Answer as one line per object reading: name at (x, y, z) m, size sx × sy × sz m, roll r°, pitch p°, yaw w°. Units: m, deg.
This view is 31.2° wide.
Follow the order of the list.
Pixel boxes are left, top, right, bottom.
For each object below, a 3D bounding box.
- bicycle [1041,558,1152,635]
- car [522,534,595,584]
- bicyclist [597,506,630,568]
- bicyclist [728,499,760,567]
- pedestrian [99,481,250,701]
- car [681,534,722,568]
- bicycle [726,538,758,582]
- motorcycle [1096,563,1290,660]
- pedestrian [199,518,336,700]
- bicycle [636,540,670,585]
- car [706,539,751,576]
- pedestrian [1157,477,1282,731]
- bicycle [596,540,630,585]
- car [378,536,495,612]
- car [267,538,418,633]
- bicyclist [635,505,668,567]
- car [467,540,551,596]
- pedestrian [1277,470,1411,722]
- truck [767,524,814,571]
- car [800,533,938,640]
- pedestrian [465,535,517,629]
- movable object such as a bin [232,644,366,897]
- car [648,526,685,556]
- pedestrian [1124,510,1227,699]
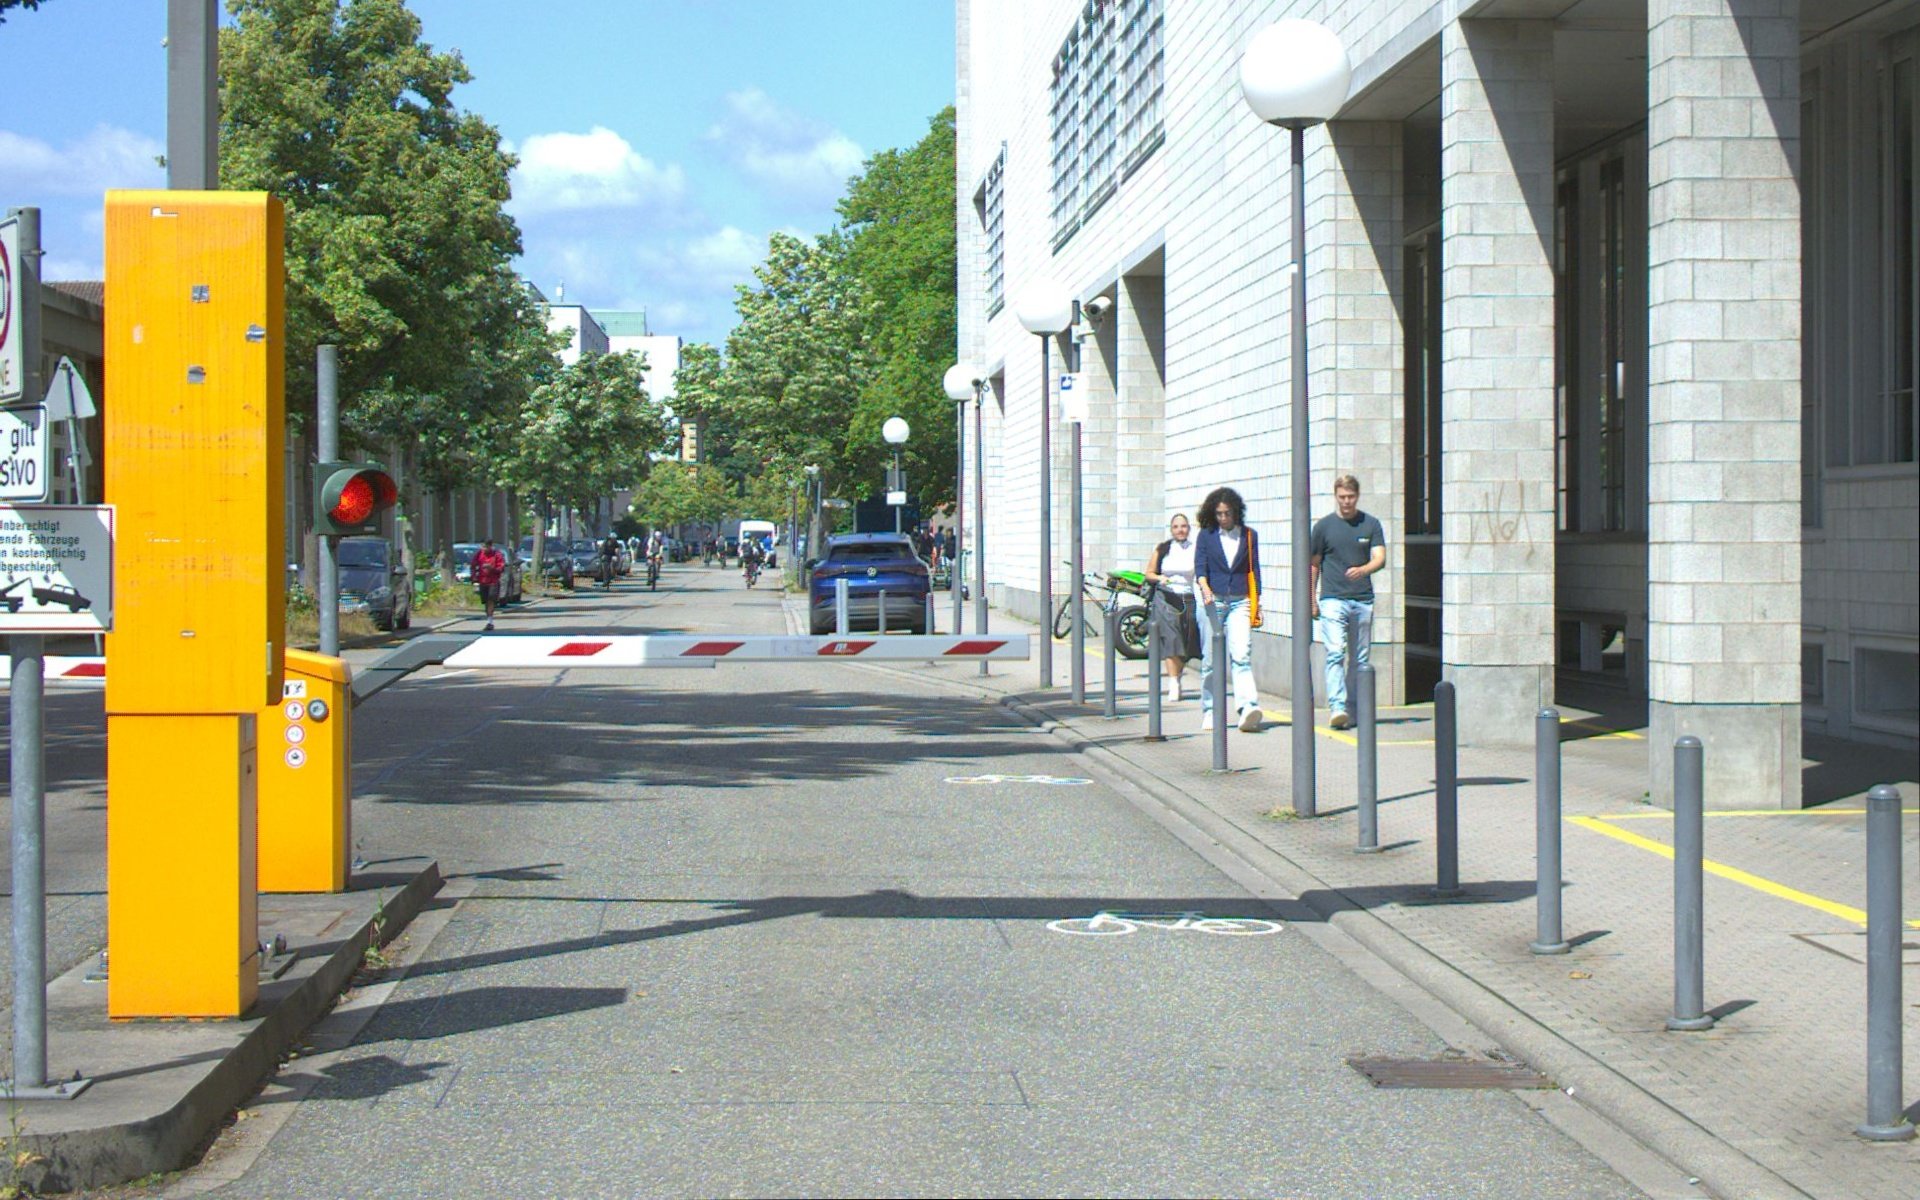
bicycle at (1.948, -0.052, 48.861) m, size 1.544 × 1.063 × 0.647 m, roll -1°, pitch 1°, yaw 5°
car at (-12.643, -1.319, 108.400) m, size 1.993 × 1.540 × 4.212 m, roll 0°, pitch 1°, yaw -3°
bicyclist at (-10.709, -1.952, 106.364) m, size 0.987 × 1.877 × 1.036 m, roll 0°, pitch -1°, yaw -7°
bicyclist at (-6.870, -2.142, 109.328) m, size 0.987 × 2.125 × 1.036 m, roll 0°, pitch -1°, yaw -4°
pedestrian at (-6.998, -0.079, 30.615) m, size 1.003 × 1.919 × 0.887 m, roll 0°, pitch 0°, yaw -40°
car at (-14.152, -2.669, 188.198) m, size 1.993 × 1.714 × 4.000 m, roll 0°, pitch -1°, yaw -1°
bicycle at (-6.932, -1.265, 109.280) m, size 0.987 × 1.311 × 2.964 m, roll 0°, pitch -1°, yaw -4°
motorcycle at (2.648, 0.131, 39.233) m, size 2.122 × 1.019 × 0.660 m, roll -2°, pitch -1°, yaw -2°
pedestrian at (-6.327, 0.079, 31.394) m, size 0.894 × 1.627 × 0.887 m, roll 0°, pitch 0°, yaw -40°
bicycle at (-9.495, -1.145, 106.219) m, size 0.987 × 1.311 × 2.964 m, roll 0°, pitch -1°, yaw -6°
car at (-11.570, -2.119, 171.954) m, size 1.993 × 1.714 × 4.000 m, roll 0°, pitch -1°, yaw -1°
pedestrian at (1.871, 0.013, 24.921) m, size 0.694 × 1.774 × 1.086 m, roll -2°, pitch 2°, yaw -5°
bicycle at (-10.698, -1.139, 105.988) m, size 0.987 × 1.311 × 2.964 m, roll 0°, pitch -1°, yaw -7°
car at (-10.892, -0.571, 71.736) m, size 1.993 × 1.540 × 4.212 m, roll 0°, pitch 1°, yaw -3°
car at (-10.436, -0.277, 58.338) m, size 1.993 × 1.540 × 4.212 m, roll 0°, pitch 1°, yaw -3°
bicyclist at (-9.546, -1.979, 106.260) m, size 0.987 × 1.877 × 1.036 m, roll 0°, pitch -1°, yaw -7°
car at (-12.592, -0.913, 96.217) m, size 1.993 × 1.540 × 4.212 m, roll 0°, pitch 1°, yaw -3°
pedestrian at (2.780, -0.042, 24.957) m, size 0.767 × 1.774 × 0.911 m, roll -2°, pitch 2°, yaw -5°
truck at (-7.718, -2.385, 156.596) m, size 1.993 × 2.007 × 4.000 m, roll 0°, pitch -1°, yaw -5°
car at (-1.409, -0.235, 51.682) m, size 1.993 × 1.540 × 4.212 m, roll 0°, pitch 1°, yaw -3°
pedestrian at (-8.220, -0.323, 60.244) m, size 0.893 × 1.627 × 0.888 m, roll 0°, pitch 0°, yaw -8°
movable object such as a bin at (-2.426, 0.619, 12.632) m, size 0.416 × 0.902 × 0.353 m, roll 0°, pitch 1°, yaw 1°
car at (-18.200, -3.671, 213.044) m, size 1.993 × 1.714 × 4.000 m, roll 0°, pitch -1°, yaw -1°
pedestrian at (1.893, 0.028, 30.326) m, size 0.741 × 1.627 × 0.888 m, roll -2°, pitch 2°, yaw -5°
